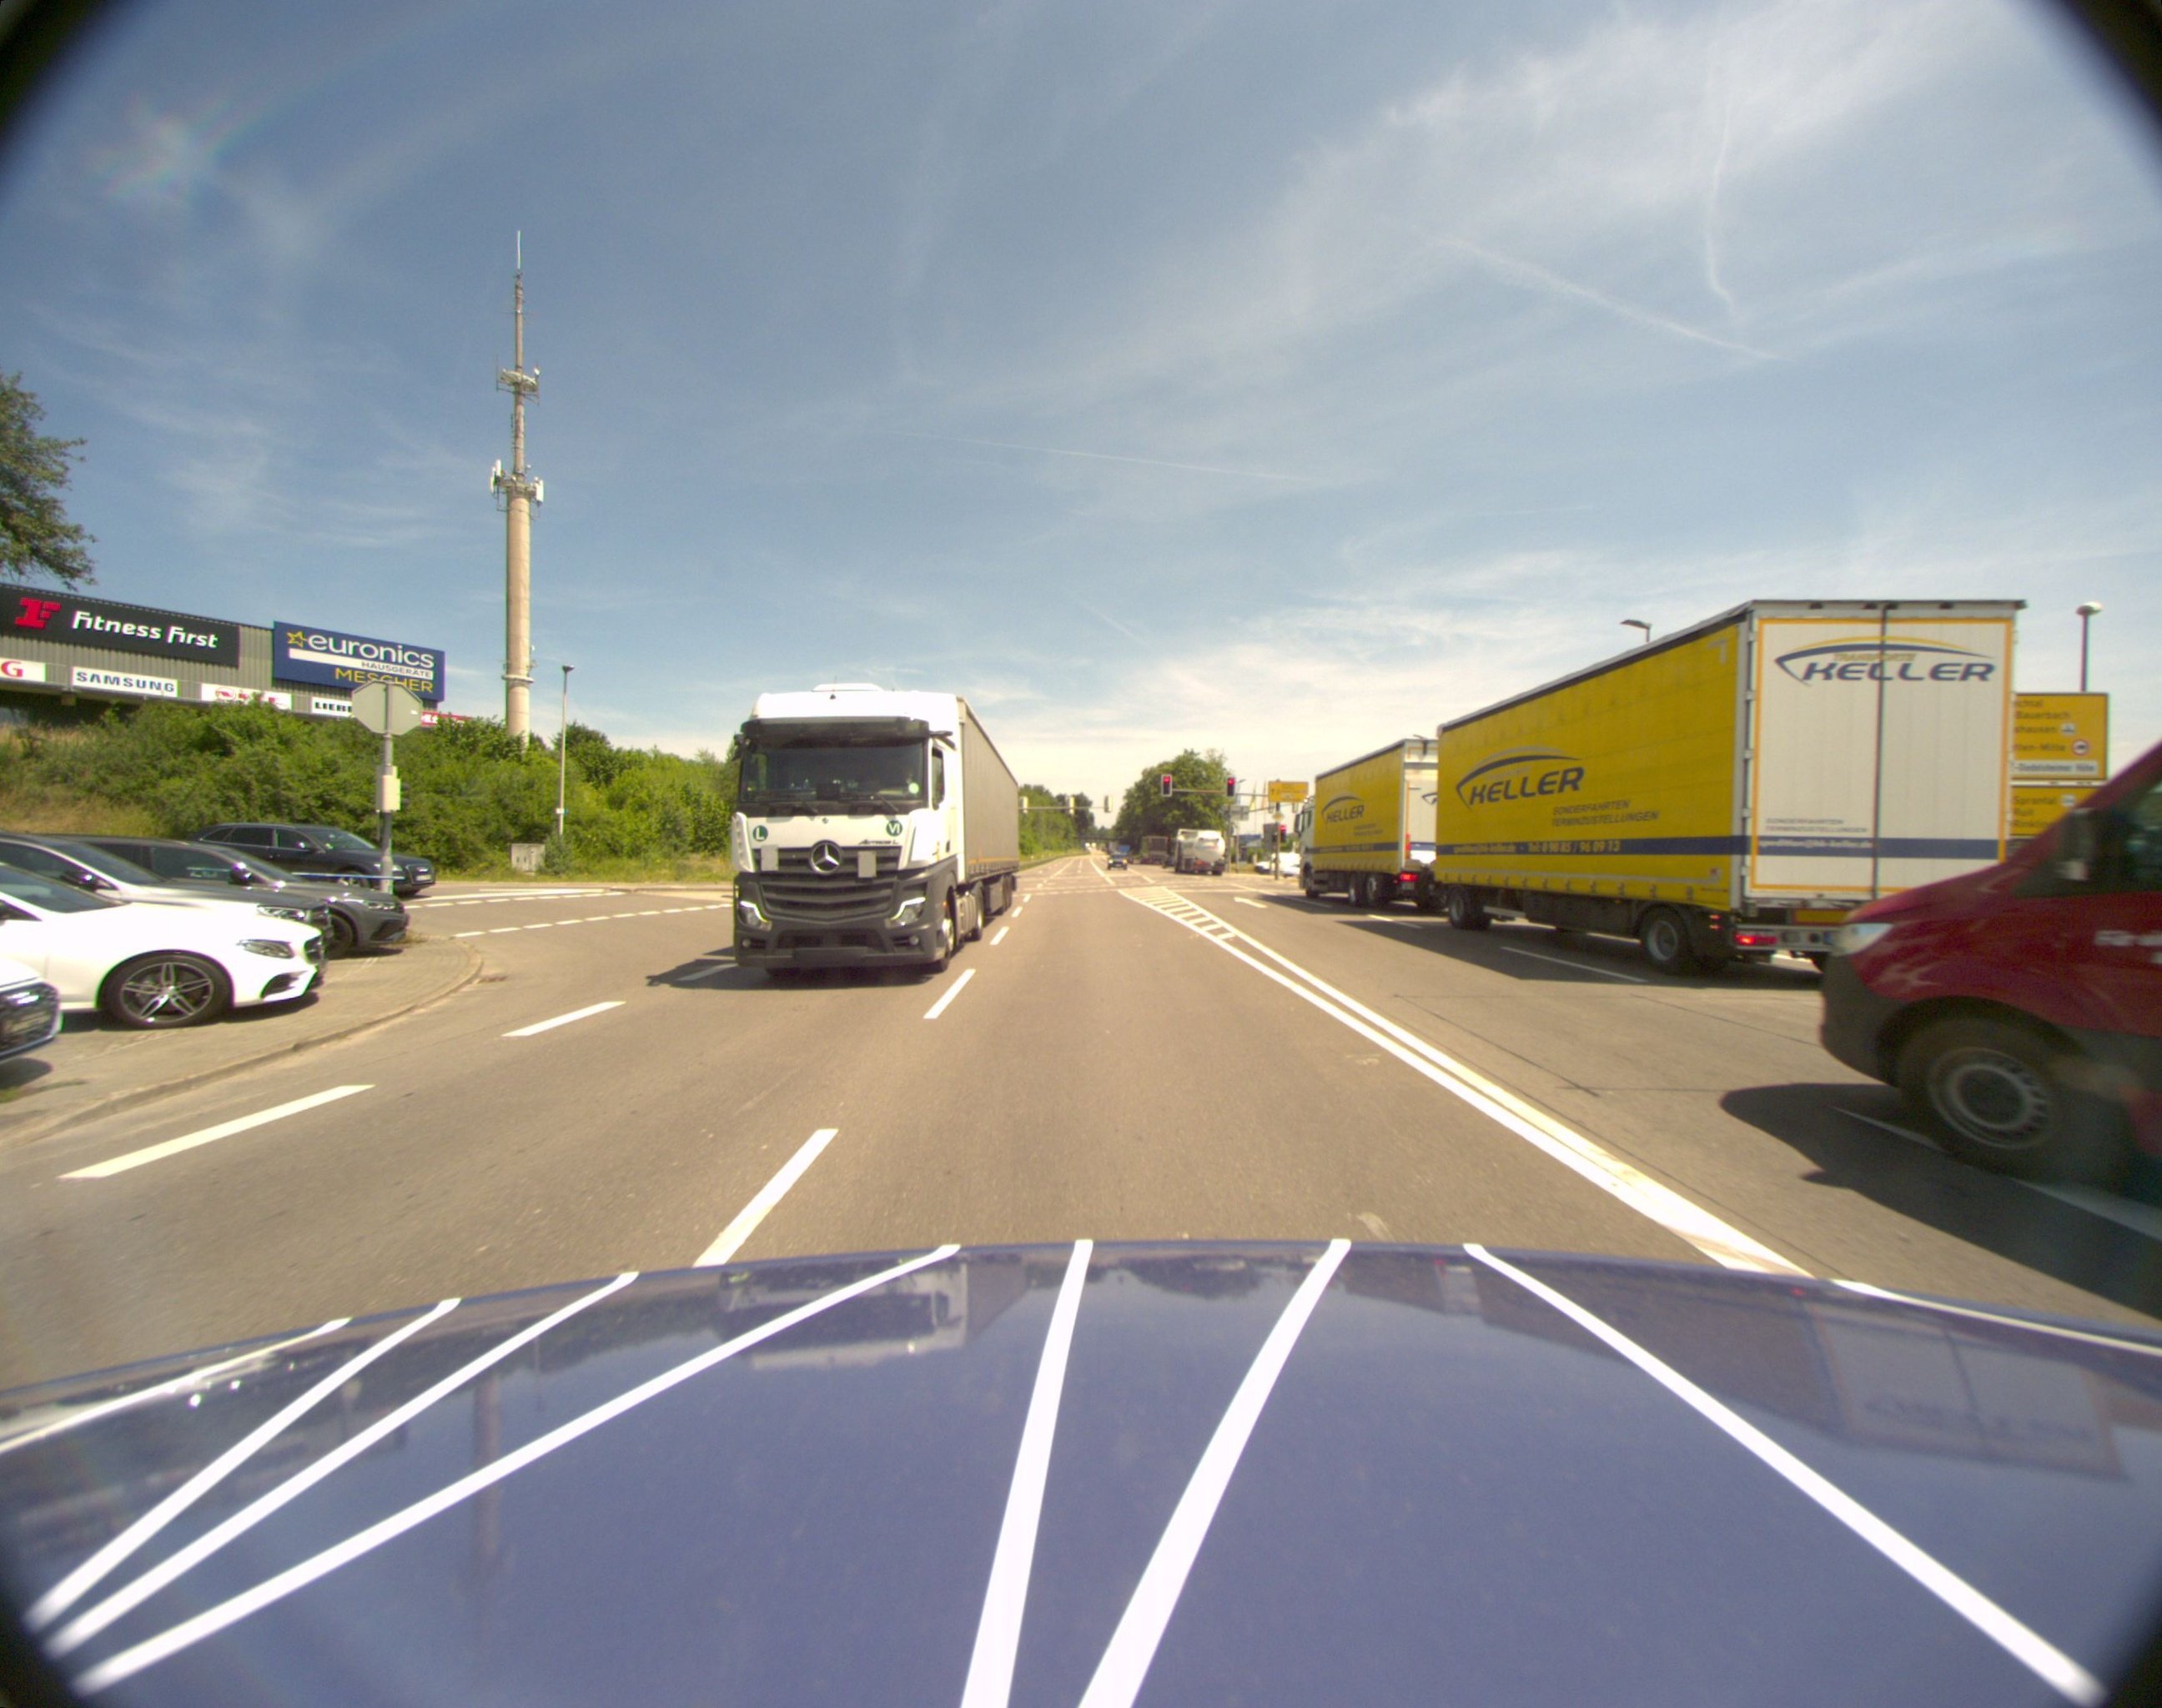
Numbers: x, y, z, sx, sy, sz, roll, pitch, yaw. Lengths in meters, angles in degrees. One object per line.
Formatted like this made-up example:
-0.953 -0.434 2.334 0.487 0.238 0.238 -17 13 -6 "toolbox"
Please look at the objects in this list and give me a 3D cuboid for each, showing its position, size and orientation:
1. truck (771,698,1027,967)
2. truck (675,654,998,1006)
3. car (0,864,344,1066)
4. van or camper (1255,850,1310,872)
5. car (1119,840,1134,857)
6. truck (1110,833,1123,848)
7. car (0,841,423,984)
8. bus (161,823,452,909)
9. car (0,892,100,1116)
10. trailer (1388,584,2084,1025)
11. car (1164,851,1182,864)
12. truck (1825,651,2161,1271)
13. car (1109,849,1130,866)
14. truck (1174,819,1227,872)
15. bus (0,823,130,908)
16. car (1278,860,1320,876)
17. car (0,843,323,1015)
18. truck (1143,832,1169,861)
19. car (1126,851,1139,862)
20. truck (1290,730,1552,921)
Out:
-3.255 -0.335 18.528 2.981 3.986 14.120 1 0 -1 "truck"
-3.165 -0.275 11.935 2.981 3.986 6.326 1 0 0 "truck"
-9.715 0.882 6.435 4.750 1.543 1.994 3 -1 -38 "car"
21.979 0.781 83.040 5.466 2.398 2.096 0 1 -2 "van or camper"
11.321 -1.357 188.164 3.350 4.056 7.695 1 0 5 "car"
10.884 -4.043 234.041 3.533 4.496 7.204 -1 1 5 "truck"
-12.162 0.752 10.678 4.193 1.681 1.879 3 -1 -35 "car"
-17.941 0.241 17.822 4.504 1.641 1.941 4 2 -7 "bus"
-8.946 0.863 3.842 4.485 1.401 1.742 4 -1 -31 "car"
8.370 -0.486 12.428 3.018 4.262 10.059 0 0 2 "trailer"
10.592 0.366 87.460 1.687 1.420 4.154 2 1 2 "car"
5.302 0.419 0.903 2.402 2.430 6.873 -1 1 4 "truck"
3.795 0.329 74.889 1.928 1.601 4.510 0 1 1 "car"
10.007 -0.659 65.192 2.611 3.995 15.131 0 0 2 "truck"
-23.992 0.162 16.010 4.511 1.641 1.938 3 2 -25 "bus"
19.366 1.231 67.363 1.918 1.306 4.009 2 0 43 "car"
-11.394 0.751 8.253 4.184 1.681 1.879 3 -1 -36 "car"
11.108 -1.000 113.995 2.851 3.932 17.089 1 0 2 "truck"
7.457 0.378 109.741 1.687 1.489 3.955 3 1 2 "car"
8.720 -0.643 21.488 3.036 4.081 10.355 1 0 2 "truck"
